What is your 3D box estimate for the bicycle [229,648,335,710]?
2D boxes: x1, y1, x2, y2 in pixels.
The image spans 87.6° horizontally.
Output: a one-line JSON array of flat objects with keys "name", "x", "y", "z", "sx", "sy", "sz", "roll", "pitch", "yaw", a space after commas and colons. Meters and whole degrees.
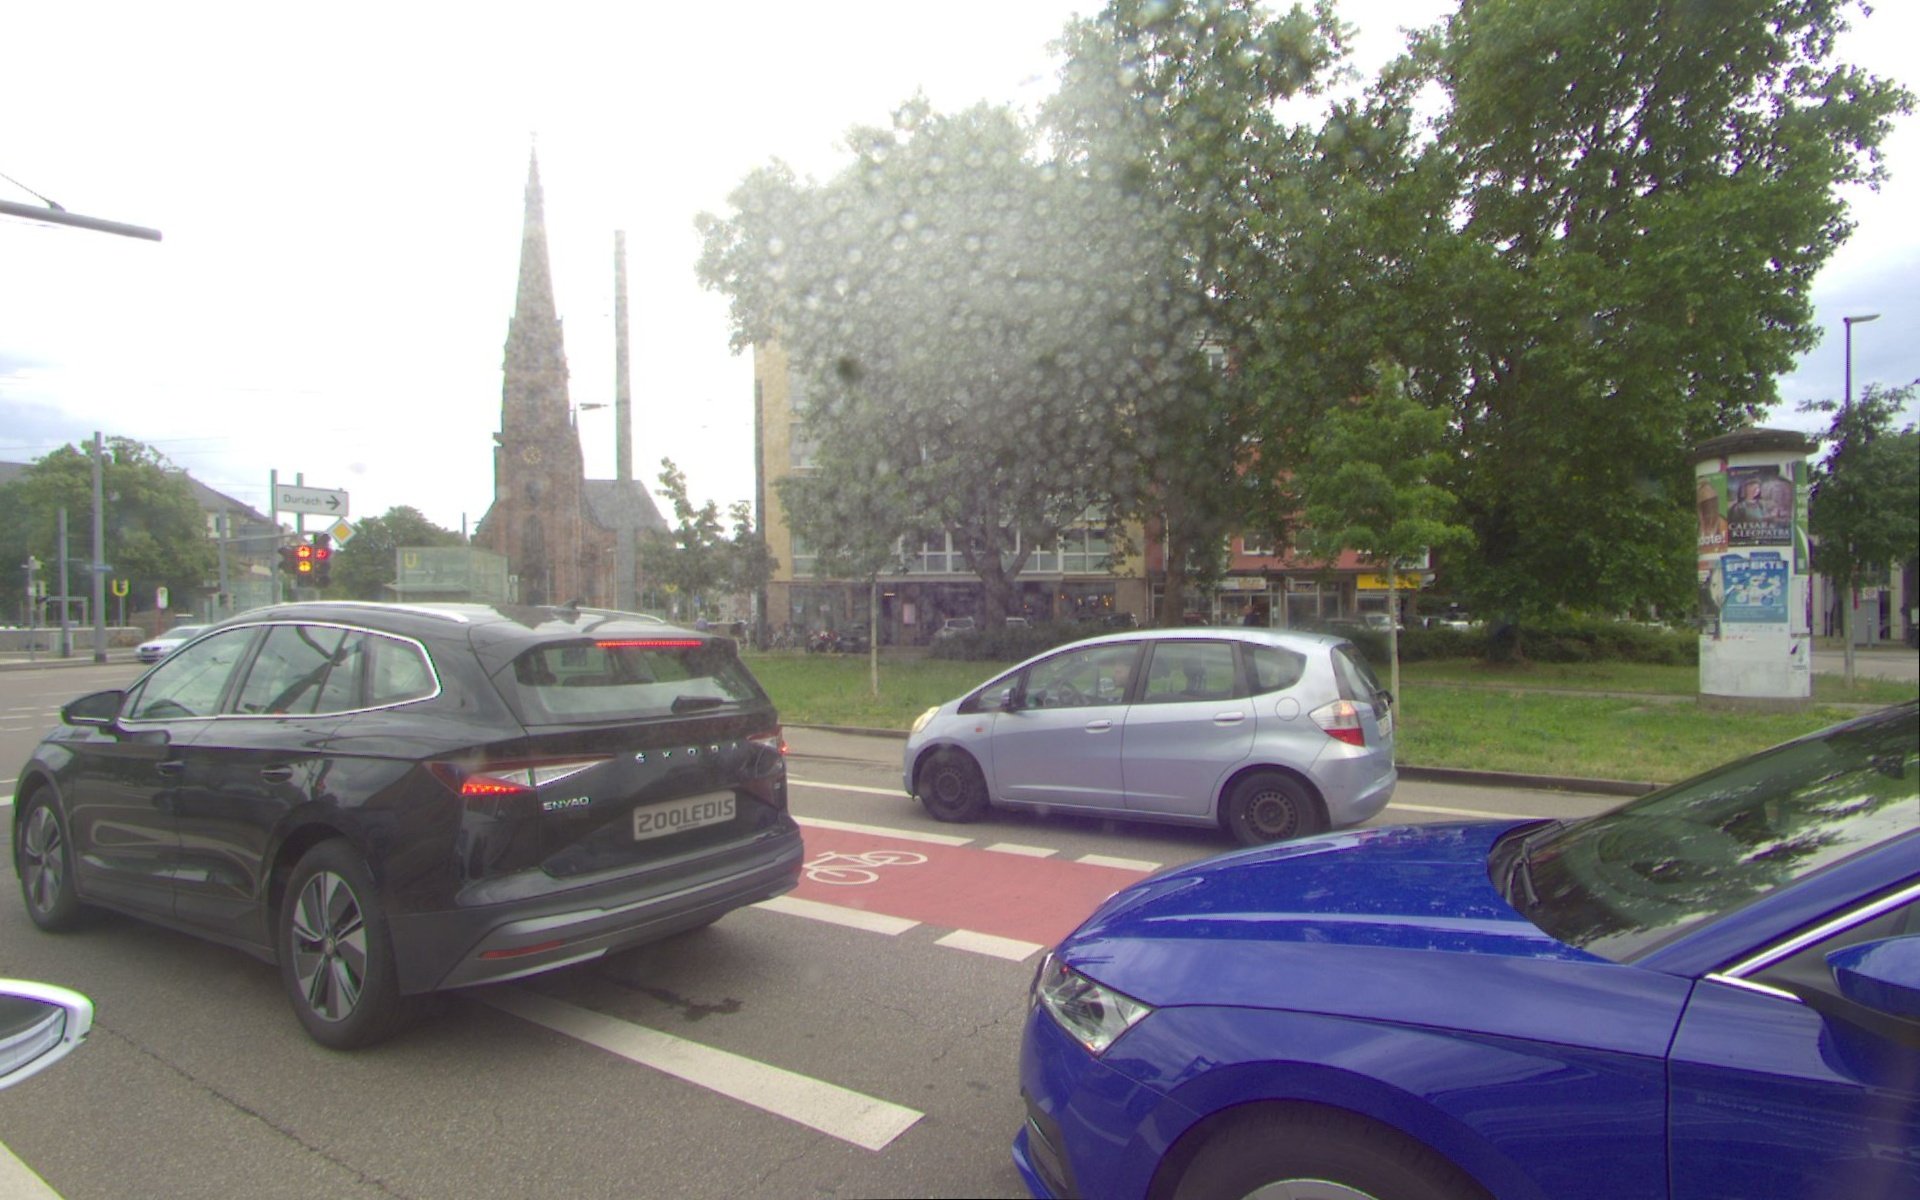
[{"name": "bicycle", "x": -13.419, "y": 1.540, "z": 19.903, "sx": 0.568, "sy": 1.012, "sz": 1.991, "roll": -1, "pitch": 2, "yaw": 5}]

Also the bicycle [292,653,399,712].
[{"name": "bicycle", "x": -11.922, "y": 1.577, "z": 19.506, "sx": 0.590, "sy": 1.011, "sz": 1.945, "roll": 0, "pitch": -1, "yaw": 12}]

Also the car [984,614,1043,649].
[{"name": "car", "x": 2.454, "y": 1.441, "z": 47.007, "sx": 1.962, "sy": 1.461, "sz": 3.997, "roll": -1, "pitch": 0, "yaw": -9}]

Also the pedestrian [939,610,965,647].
[{"name": "pedestrian", "x": -0.404, "y": 1.396, "z": 49.803, "sx": 1.032, "sy": 1.780, "sz": 0.786, "roll": -1, "pitch": 1, "yaw": -22}]

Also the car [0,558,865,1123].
[{"name": "car", "x": -2.821, "y": 0.751, "z": 4.958, "sx": 4.449, "sy": 1.680, "sz": 1.900, "roll": -1, "pitch": 0, "yaw": 31}]

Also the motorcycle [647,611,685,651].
[{"name": "motorcycle", "x": -10.972, "y": 1.133, "z": 37.450, "sx": 1.027, "sy": 1.384, "sz": 2.291, "roll": -1, "pitch": 0, "yaw": -9}]

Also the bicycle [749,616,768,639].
[{"name": "bicycle", "x": -10.714, "y": 1.449, "z": 53.257, "sx": 0.657, "sy": 1.184, "sz": 2.040, "roll": 0, "pitch": 0, "yaw": -3}]

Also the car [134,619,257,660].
[{"name": "car", "x": -31.464, "y": 1.589, "z": 41.416, "sx": 1.692, "sy": 1.502, "sz": 4.627, "roll": -1, "pitch": 0, "yaw": -3}]

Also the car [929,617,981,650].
[{"name": "car", "x": -0.301, "y": 1.521, "z": 46.676, "sx": 1.962, "sy": 1.483, "sz": 3.999, "roll": 0, "pitch": -1, "yaw": -7}]

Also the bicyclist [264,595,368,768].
[{"name": "bicyclist", "x": -6.653, "y": 0.807, "z": 10.348, "sx": 0.794, "sy": 1.713, "sz": 0.614, "roll": 0, "pitch": 0, "yaw": 30}]

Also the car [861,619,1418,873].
[{"name": "car", "x": 1.308, "y": 0.921, "z": 7.682, "sx": 3.875, "sy": 1.502, "sz": 1.703, "roll": -1, "pitch": -2, "yaw": 31}]

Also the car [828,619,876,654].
[{"name": "car", "x": -4.889, "y": 1.628, "z": 45.812, "sx": 1.806, "sy": 1.462, "sz": 4.166, "roll": -1, "pitch": 0, "yaw": -1}]

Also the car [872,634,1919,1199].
[{"name": "car", "x": 2.251, "y": 0.796, "z": 1.608, "sx": 4.689, "sy": 1.454, "sz": 1.762, "roll": -1, "pitch": -2, "yaw": 33}]

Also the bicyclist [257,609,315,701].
[{"name": "bicyclist", "x": -13.432, "y": 1.084, "z": 19.964, "sx": 0.574, "sy": 1.775, "sz": 0.734, "roll": 0, "pitch": 2, "yaw": 6}]

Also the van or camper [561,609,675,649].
[{"name": "van or camper", "x": -18.293, "y": 1.518, "z": 53.730, "sx": 5.404, "sy": 2.004, "sz": 2.155, "roll": 0, "pitch": -1, "yaw": -39}]

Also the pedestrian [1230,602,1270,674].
[{"name": "pedestrian", "x": 7.507, "y": 0.968, "z": 25.946, "sx": 0.881, "sy": 1.843, "sz": 0.866, "roll": 0, "pitch": 1, "yaw": 8}]

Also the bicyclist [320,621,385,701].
[{"name": "bicyclist", "x": -11.899, "y": 1.178, "z": 19.638, "sx": 0.659, "sy": 1.542, "sz": 0.885, "roll": 0, "pitch": 0, "yaw": 12}]

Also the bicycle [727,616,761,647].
[{"name": "bicycle", "x": -10.212, "y": 1.488, "z": 47.469, "sx": 0.886, "sy": 1.395, "sz": 2.784, "roll": 0, "pitch": 0, "yaw": 2}]

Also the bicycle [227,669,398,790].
[{"name": "bicycle", "x": -6.767, "y": 1.298, "z": 10.426, "sx": 2.094, "sy": 1.069, "sz": 0.624, "roll": 0, "pitch": 0, "yaw": 31}]

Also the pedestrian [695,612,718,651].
[{"name": "pedestrian", "x": -11.473, "y": 1.411, "z": 45.343, "sx": 0.797, "sy": 1.760, "sz": 0.906, "roll": 0, "pitch": 1, "yaw": -2}]

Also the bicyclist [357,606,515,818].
[{"name": "bicyclist", "x": -4.353, "y": 0.890, "z": 8.337, "sx": 0.919, "sy": 1.639, "sz": 0.788, "roll": -1, "pitch": -2, "yaw": 31}]
